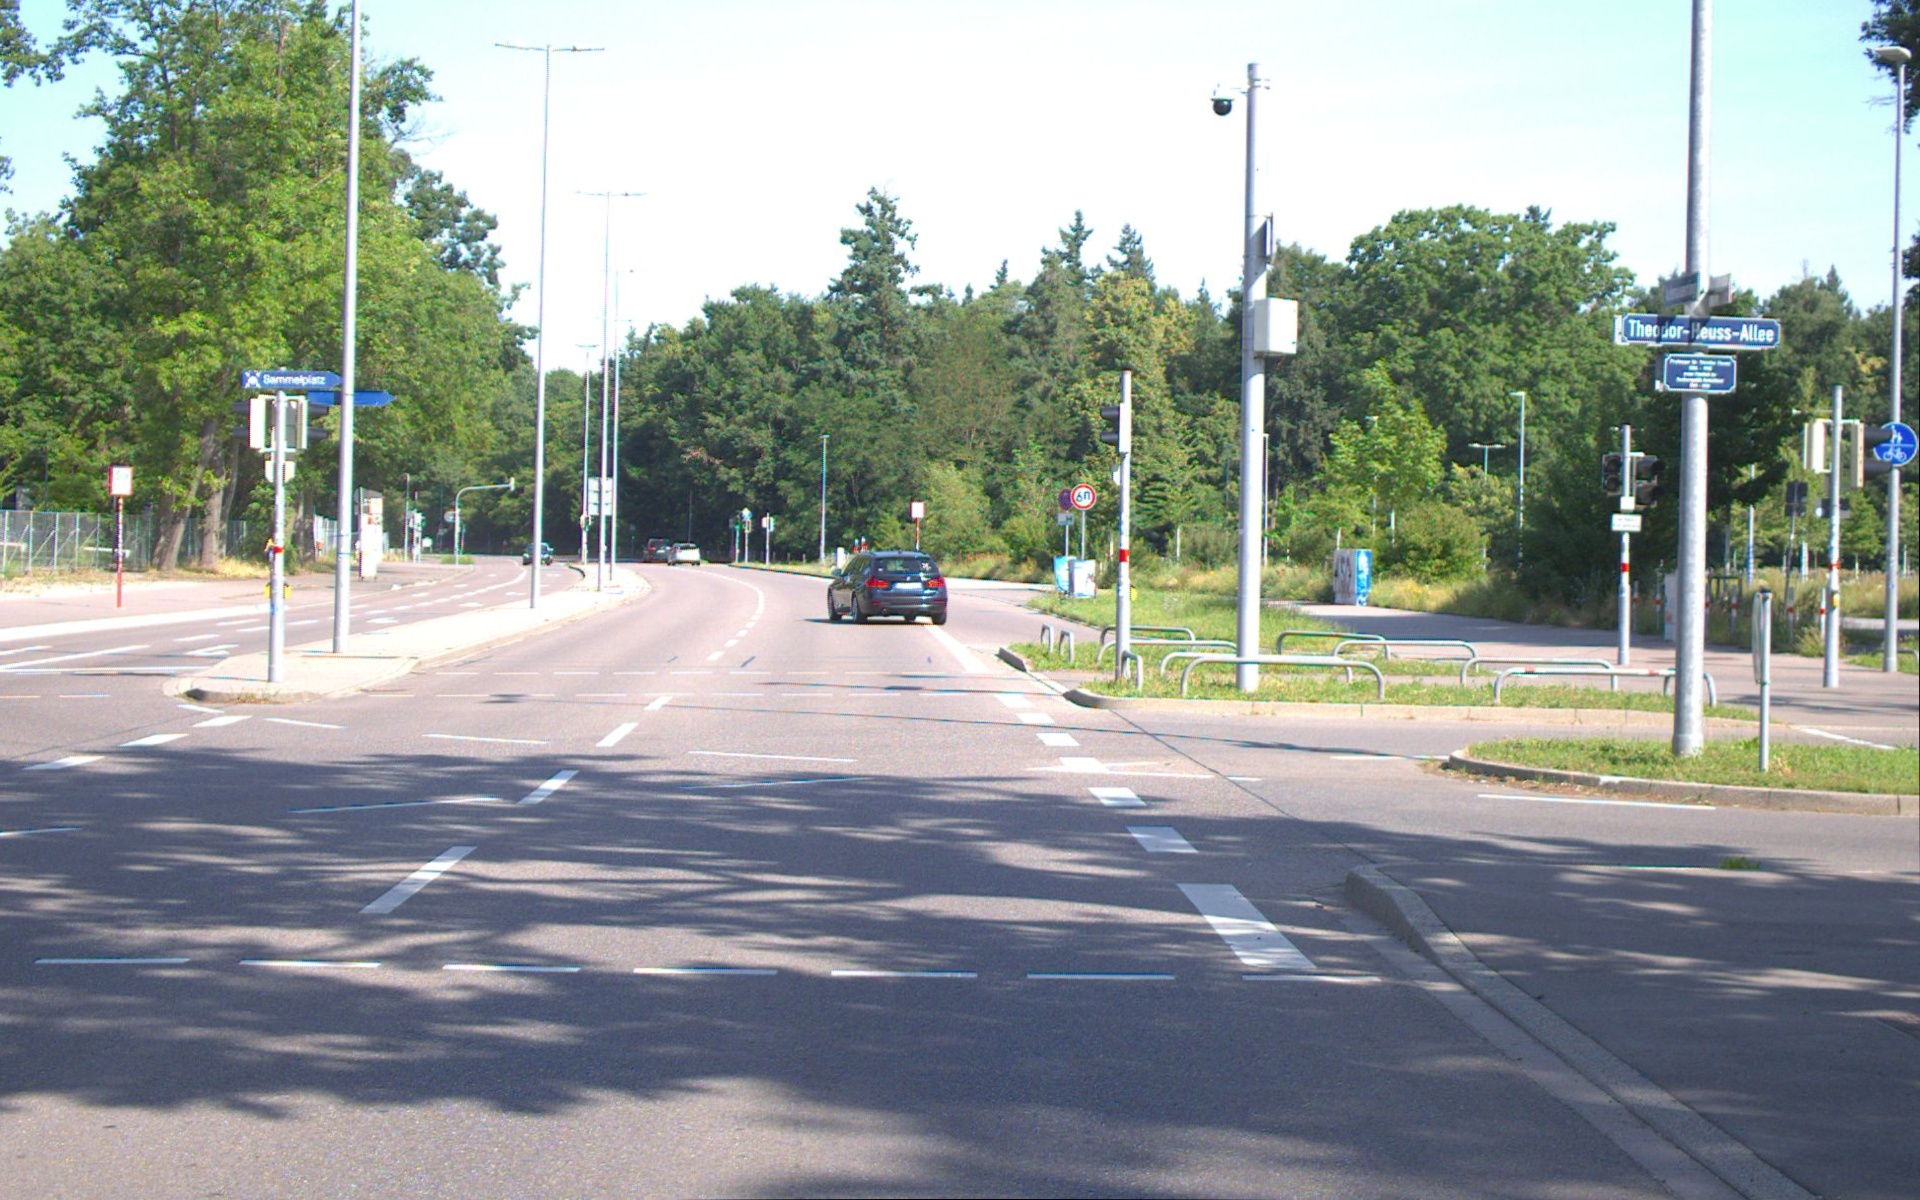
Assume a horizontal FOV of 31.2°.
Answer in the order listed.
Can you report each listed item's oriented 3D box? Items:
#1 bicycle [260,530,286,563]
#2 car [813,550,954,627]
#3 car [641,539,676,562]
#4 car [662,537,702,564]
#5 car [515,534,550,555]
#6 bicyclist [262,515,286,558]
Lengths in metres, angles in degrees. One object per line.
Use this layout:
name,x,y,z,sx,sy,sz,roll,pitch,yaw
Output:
bicycle,-24.130,-1.880,120.693,0.659,1.132,1.879,2,1,-5
car,-1.552,-0.248,67.941,1.940,1.415,4.294,1,1,-13
car,-21.318,-3.508,242.687,1.993,1.590,4.001,1,1,-11
car,-18.179,-3.247,224.943,1.993,1.744,4.001,1,1,-13
car,-28.412,-3.669,228.539,1.810,1.383,4.163,-1,1,-13
bicyclist,-24.100,-2.234,120.751,0.659,1.462,1.057,2,1,-5
